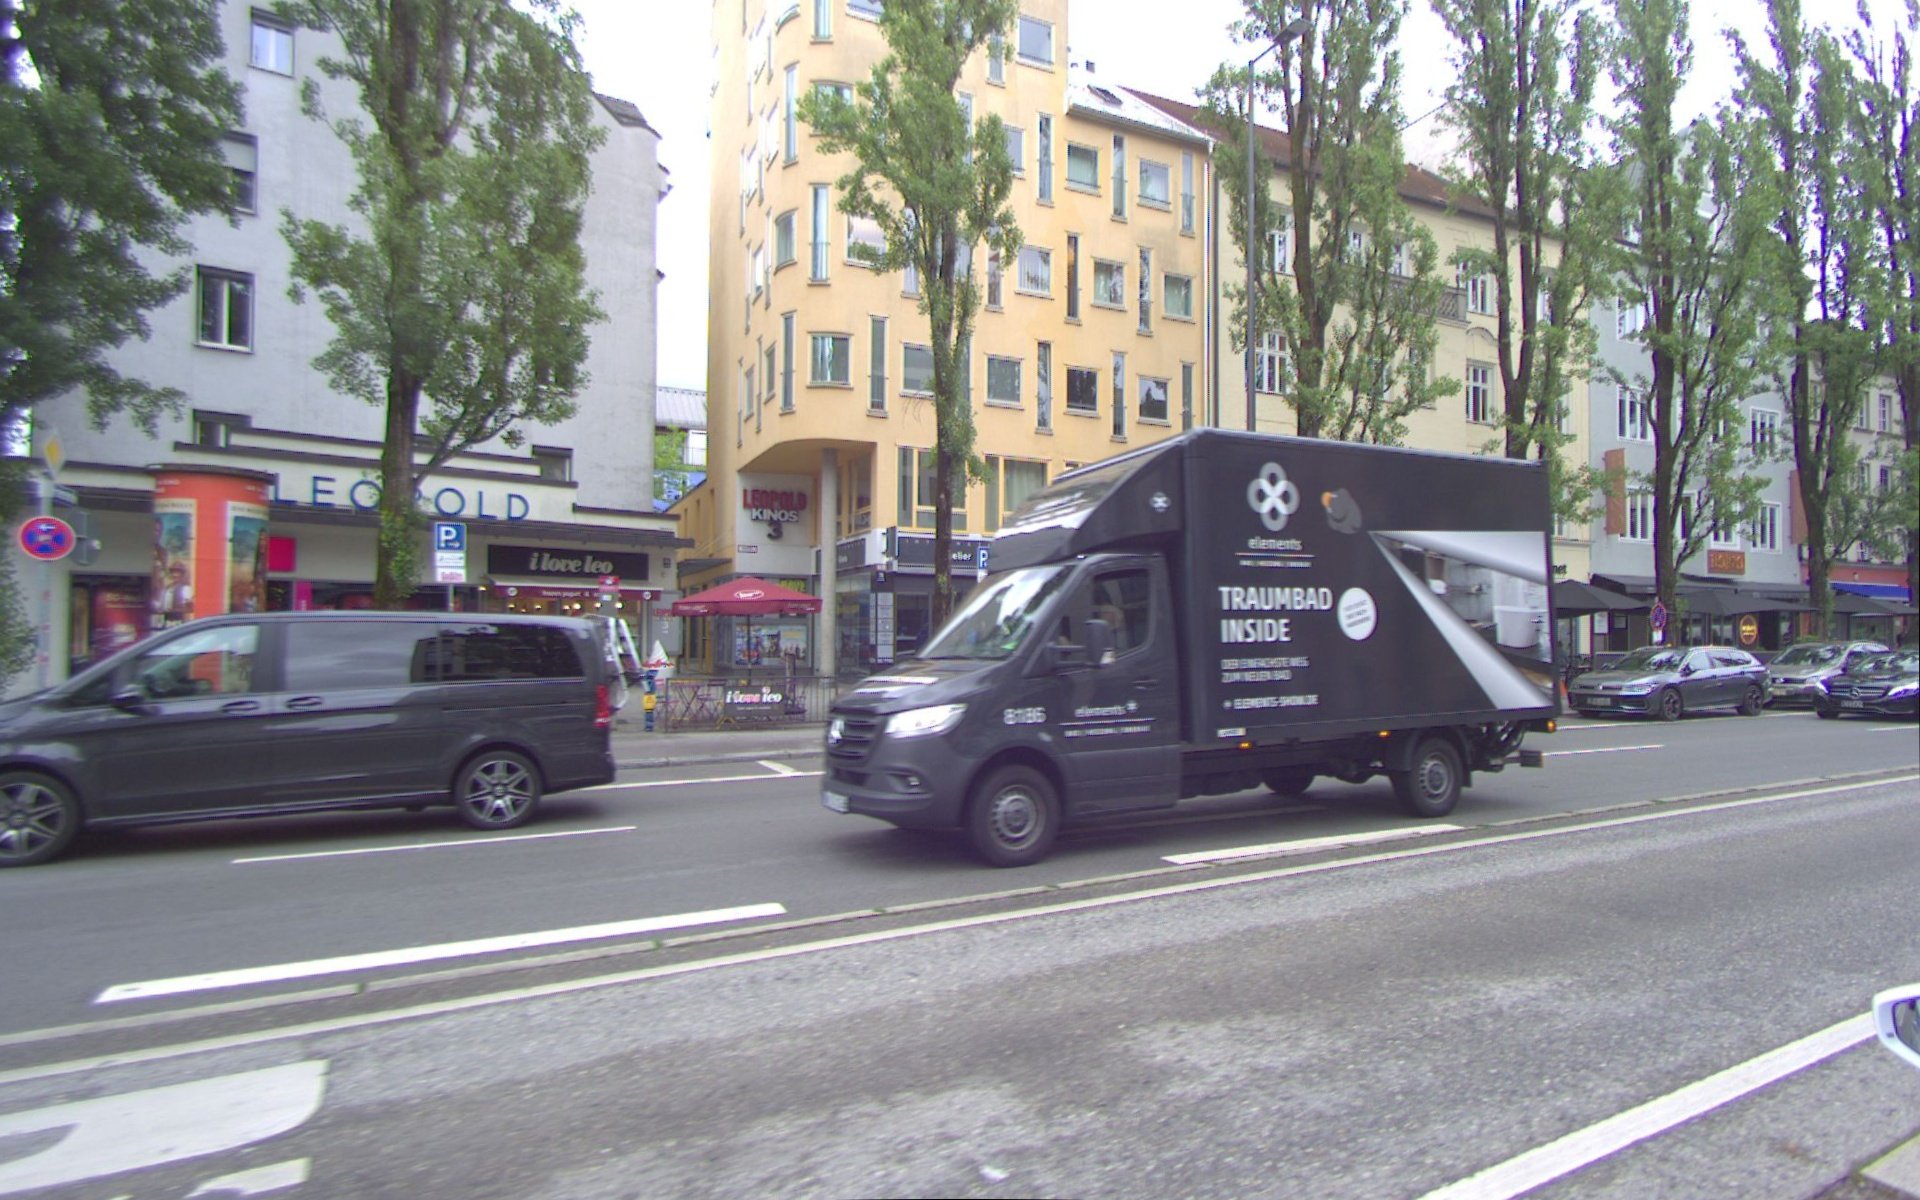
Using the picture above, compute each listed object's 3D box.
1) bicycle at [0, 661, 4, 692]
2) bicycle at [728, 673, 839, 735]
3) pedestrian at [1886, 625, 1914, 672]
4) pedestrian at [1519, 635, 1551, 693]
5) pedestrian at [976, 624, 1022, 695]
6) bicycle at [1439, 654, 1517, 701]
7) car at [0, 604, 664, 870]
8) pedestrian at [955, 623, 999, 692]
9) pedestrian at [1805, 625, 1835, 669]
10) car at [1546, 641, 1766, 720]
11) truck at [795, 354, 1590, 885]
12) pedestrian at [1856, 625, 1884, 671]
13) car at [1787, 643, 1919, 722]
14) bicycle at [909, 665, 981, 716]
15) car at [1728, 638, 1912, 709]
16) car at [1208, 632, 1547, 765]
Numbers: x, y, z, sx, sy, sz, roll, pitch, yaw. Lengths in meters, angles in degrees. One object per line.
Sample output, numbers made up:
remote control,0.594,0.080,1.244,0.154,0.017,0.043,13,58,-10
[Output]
bicycle,-31.358,2.423,31.541,1.860,0.976,0.456,1,-2,-32
bicycle,-3.023,1.774,17.309,1.860,0.976,0.456,1,-2,-32
pedestrian,38.616,1.990,41.268,0.639,1.886,0.636,1,-2,-25
pedestrian,18.112,2.005,31.637,0.745,1.770,0.537,1,-1,-25
pedestrian,0.931,1.407,23.927,0.753,1.647,0.837,2,-1,-26
bicycle,12.977,1.925,25.231,0.496,1.115,2.128,0,-3,-11
car,-5.657,1.059,8.849,5.635,1.887,1.988,1,-4,-26
pedestrian,0.419,1.406,24.689,0.753,1.647,0.837,2,-1,-26
pedestrian,33.882,1.842,39.575,0.639,1.722,0.636,1,-2,-25
car,14.772,1.633,21.331,4.236,1.513,1.935,1,-2,-24
truck,2.262,0.213,8.975,7.062,3.366,2.284,1,-3,-26
pedestrian,38.089,1.995,42.045,0.639,1.886,0.636,1,-2,-25
car,19.375,1.620,20.608,4.476,1.453,1.935,1,-3,-24
bicycle,-0.300,1.817,20.383,1.458,0.988,0.292,1,-2,-25
car,20.393,1.697,23.825,3.945,1.539,1.800,1,-3,-25
car,6.061,1.320,14.565,4.573,1.672,1.988,1,-3,-25
